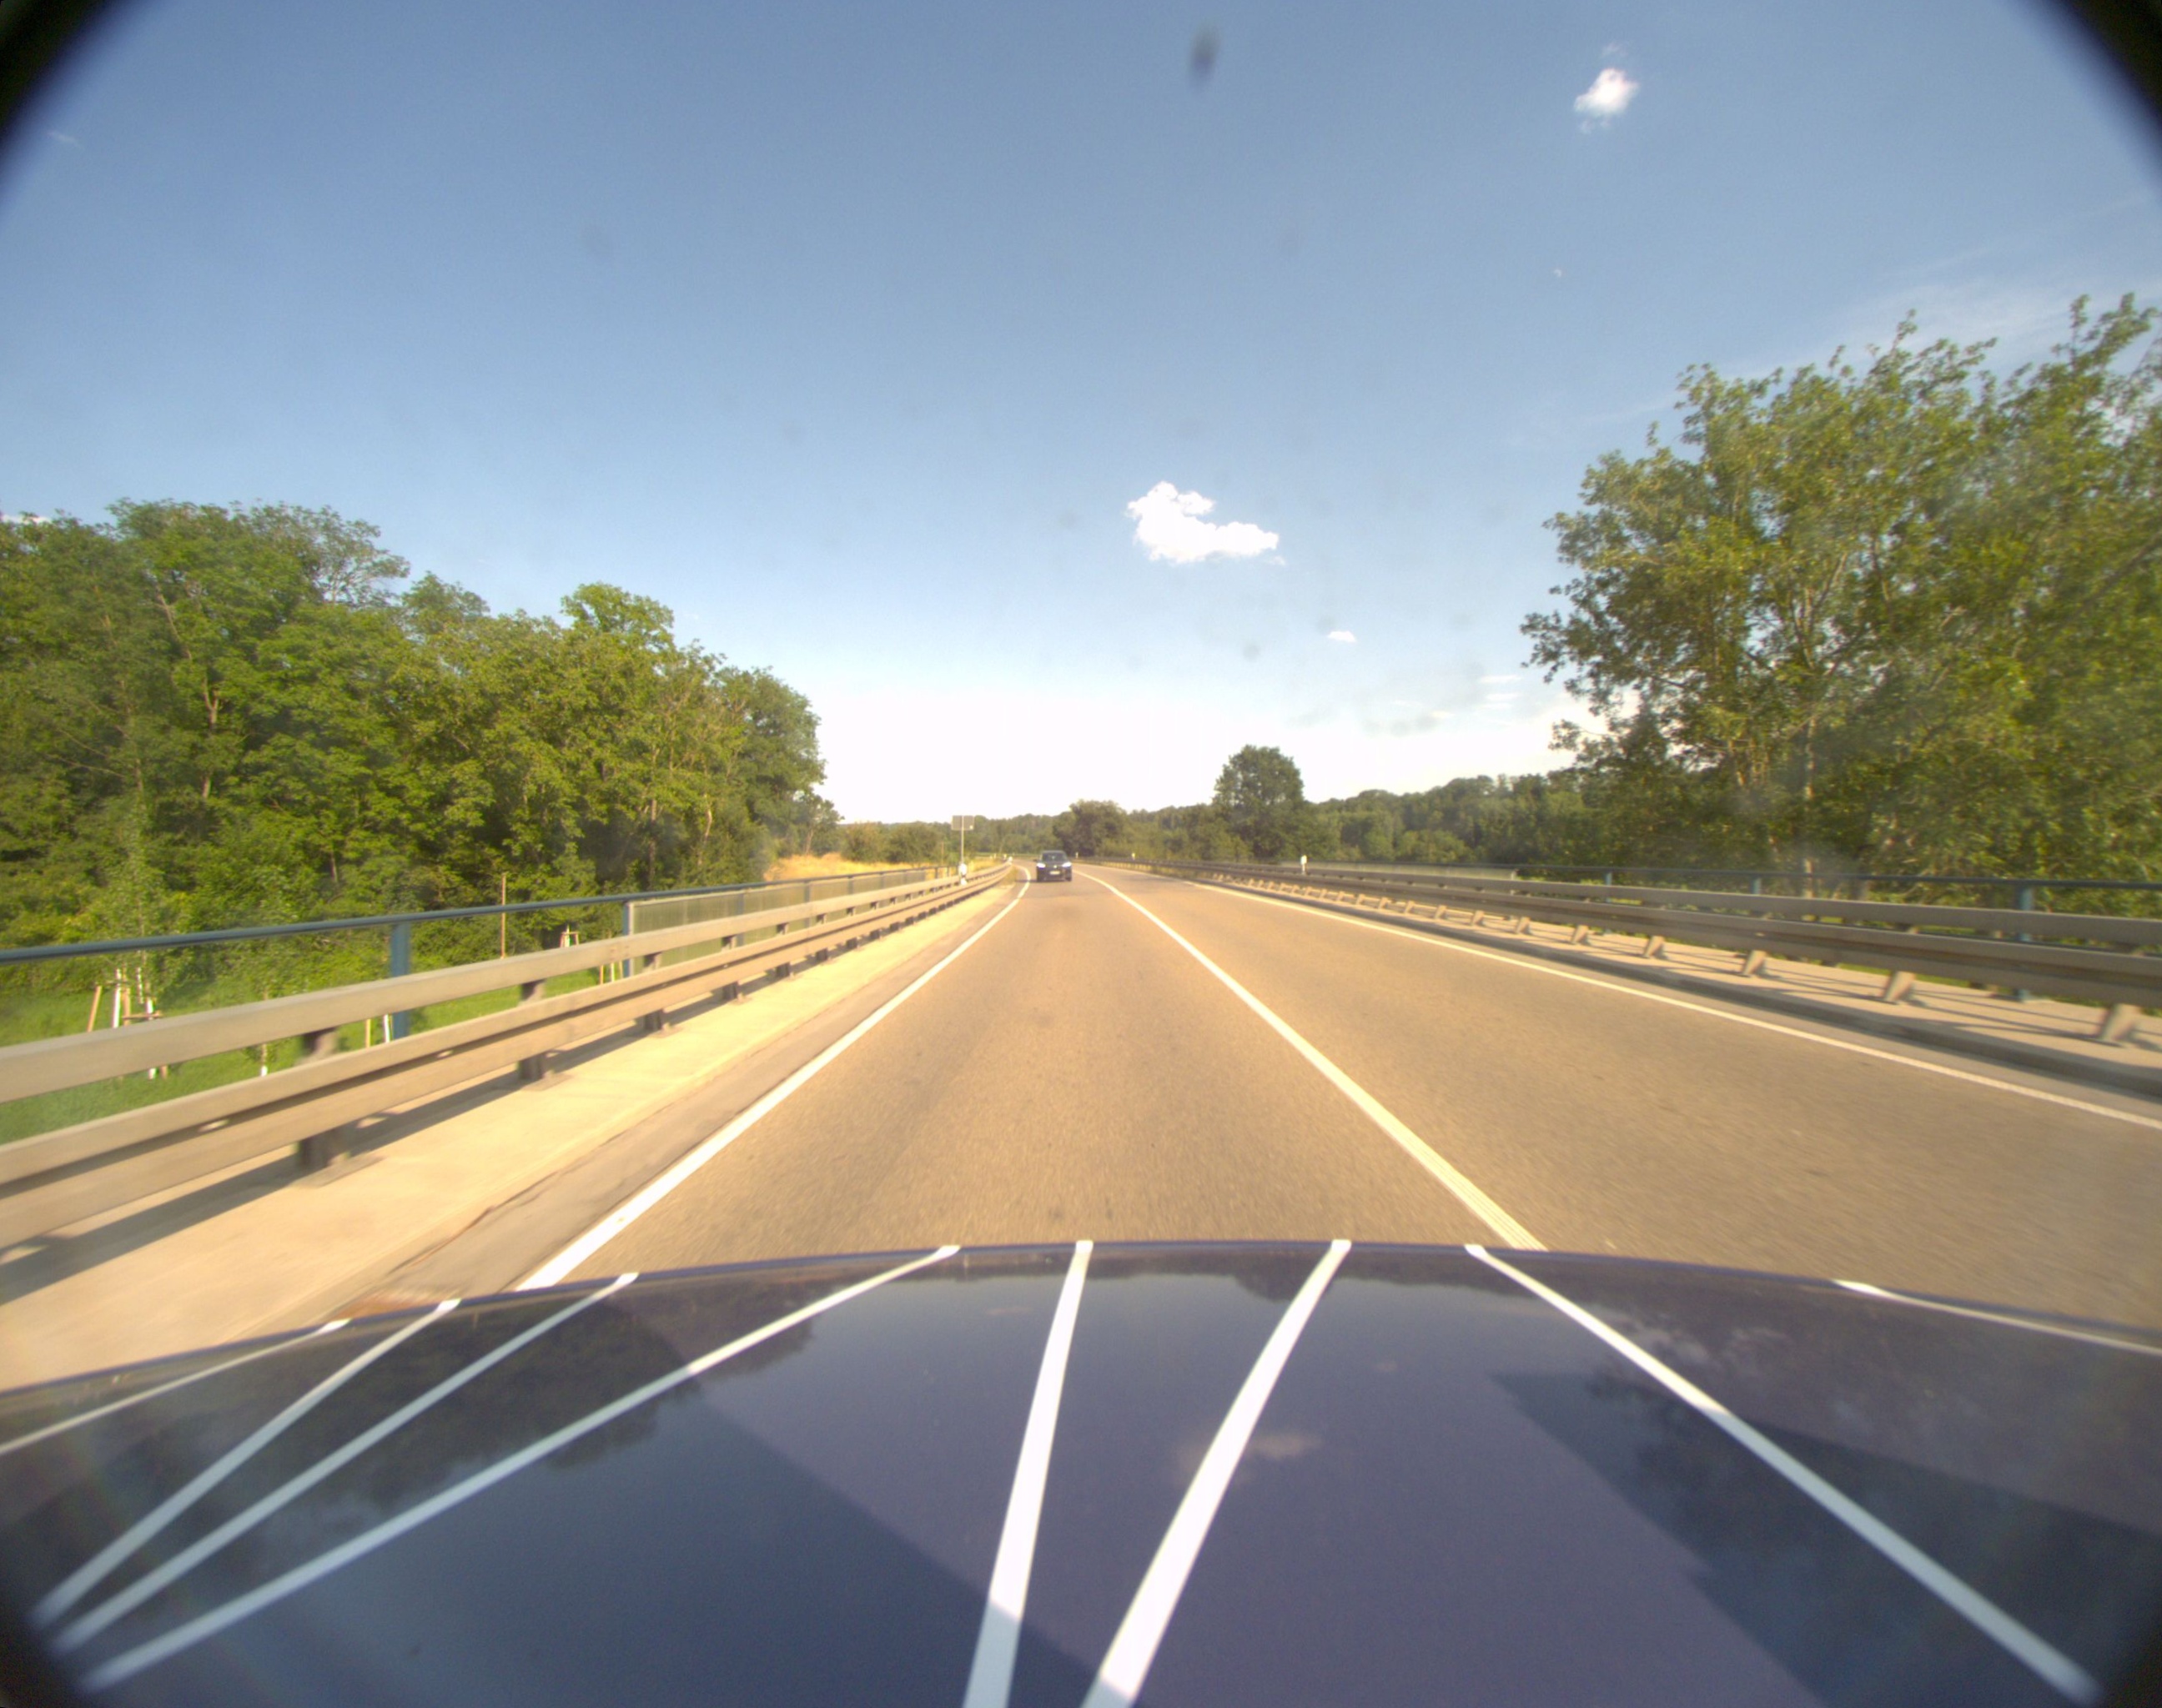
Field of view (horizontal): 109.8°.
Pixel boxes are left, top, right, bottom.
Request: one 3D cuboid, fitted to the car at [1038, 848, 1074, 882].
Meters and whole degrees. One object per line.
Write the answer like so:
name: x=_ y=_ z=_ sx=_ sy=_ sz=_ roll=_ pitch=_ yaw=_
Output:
car: x=-1.392 y=0.559 z=40.935 sx=1.751 sy=1.645 sz=4.304 roll=-2 pitch=1 yaw=-3
